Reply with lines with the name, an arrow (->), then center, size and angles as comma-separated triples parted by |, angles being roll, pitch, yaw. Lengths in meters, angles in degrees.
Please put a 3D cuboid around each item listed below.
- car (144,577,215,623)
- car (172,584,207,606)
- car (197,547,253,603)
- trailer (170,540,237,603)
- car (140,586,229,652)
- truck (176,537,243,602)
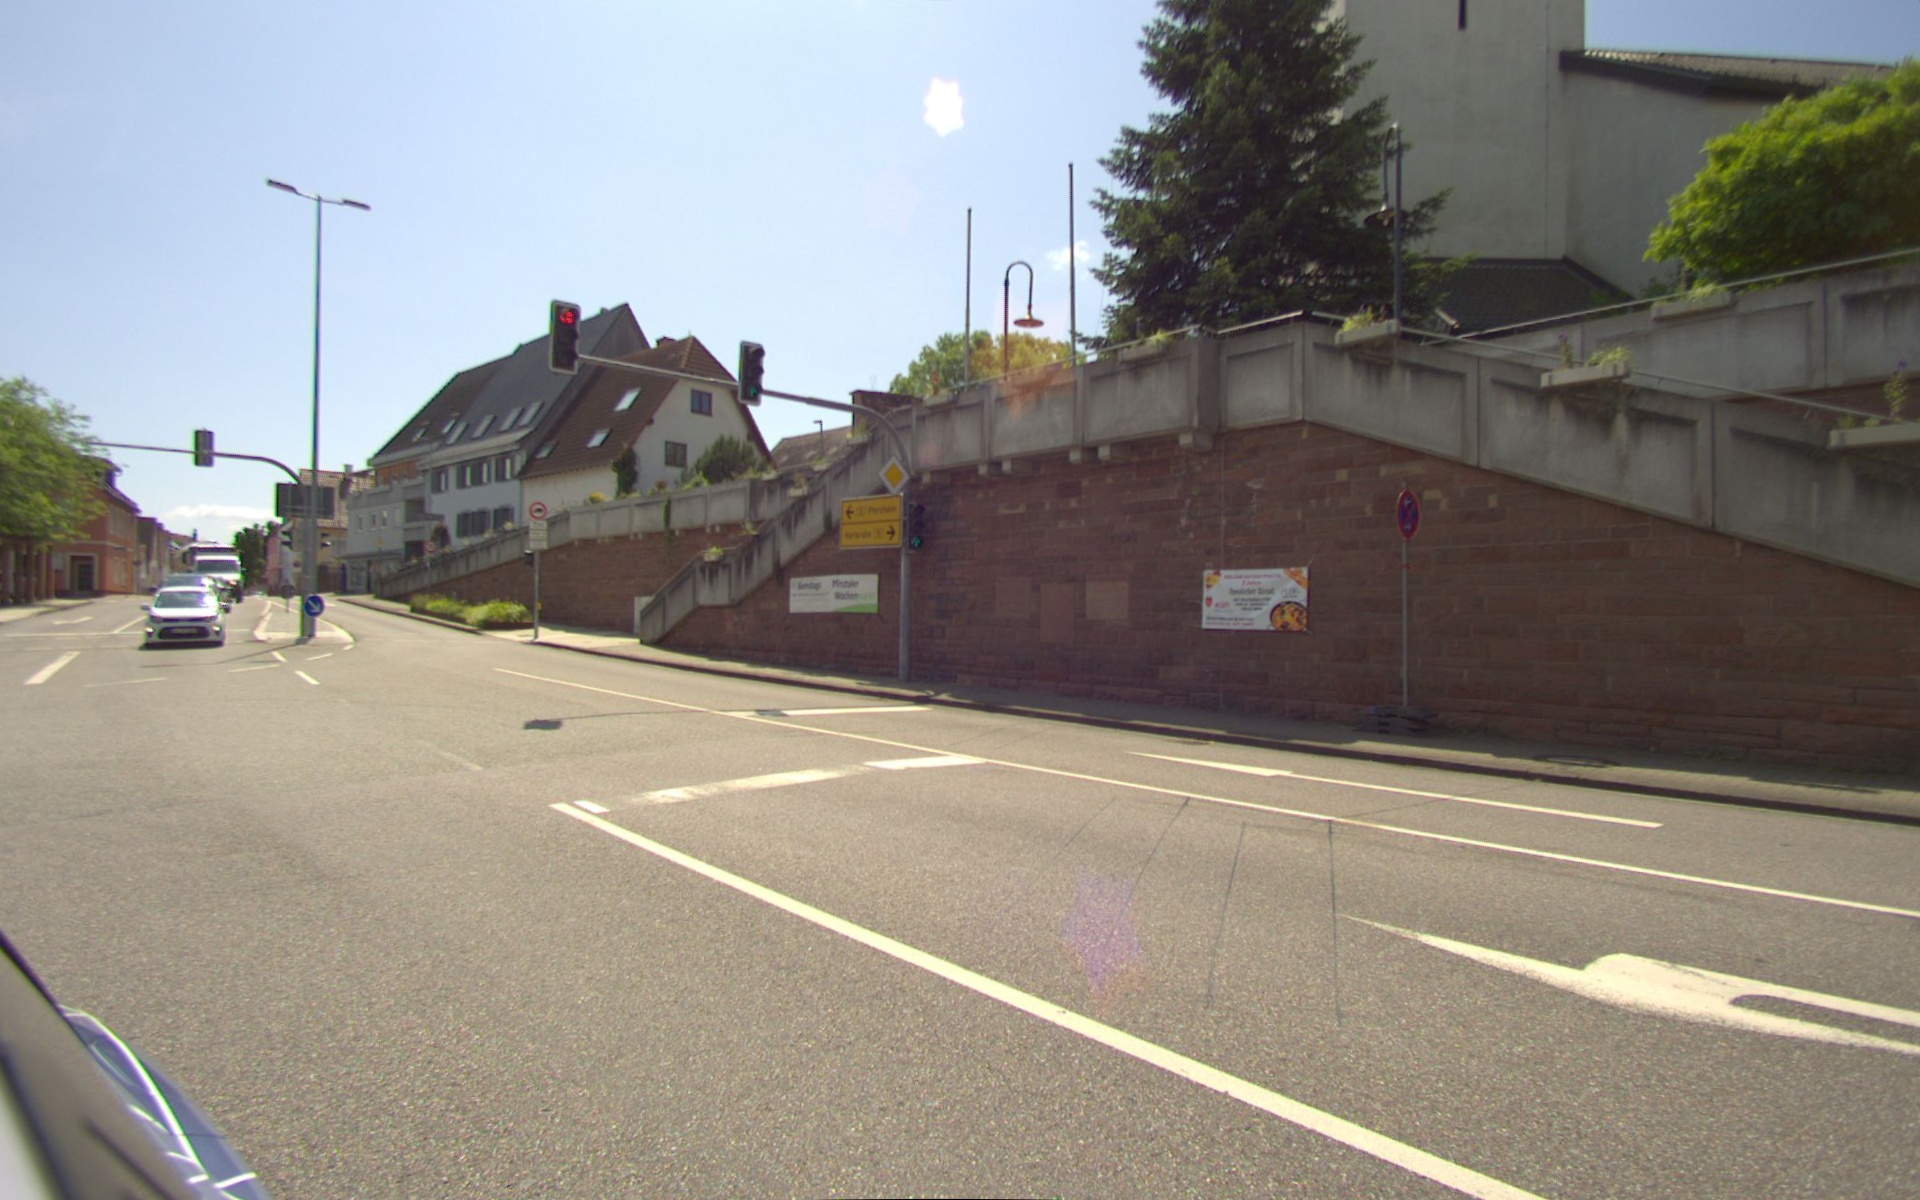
car -> -27.960, -0.001, 36.348 | 1.697, 1.562, 4.315 | -1, 0, -34
car -> -60.594, -0.395, 79.610 | 1.981, 1.643, 4.585 | 1, -1, -40
car -> -37.032, -1.194, 50.978 | 2.141, 2.583, 4.835 | 1, -1, -37
trailer -> -48.537, -1.681, 64.785 | 2.795, 3.597, 10.983 | 1, -1, -40
car -> -20.342, 0.450, 26.481 | 1.698, 1.562, 4.311 | -1, 0, -39
truck -> -44.341, -1.700, 59.747 | 2.805, 3.597, 5.477 | 1, -1, -40
